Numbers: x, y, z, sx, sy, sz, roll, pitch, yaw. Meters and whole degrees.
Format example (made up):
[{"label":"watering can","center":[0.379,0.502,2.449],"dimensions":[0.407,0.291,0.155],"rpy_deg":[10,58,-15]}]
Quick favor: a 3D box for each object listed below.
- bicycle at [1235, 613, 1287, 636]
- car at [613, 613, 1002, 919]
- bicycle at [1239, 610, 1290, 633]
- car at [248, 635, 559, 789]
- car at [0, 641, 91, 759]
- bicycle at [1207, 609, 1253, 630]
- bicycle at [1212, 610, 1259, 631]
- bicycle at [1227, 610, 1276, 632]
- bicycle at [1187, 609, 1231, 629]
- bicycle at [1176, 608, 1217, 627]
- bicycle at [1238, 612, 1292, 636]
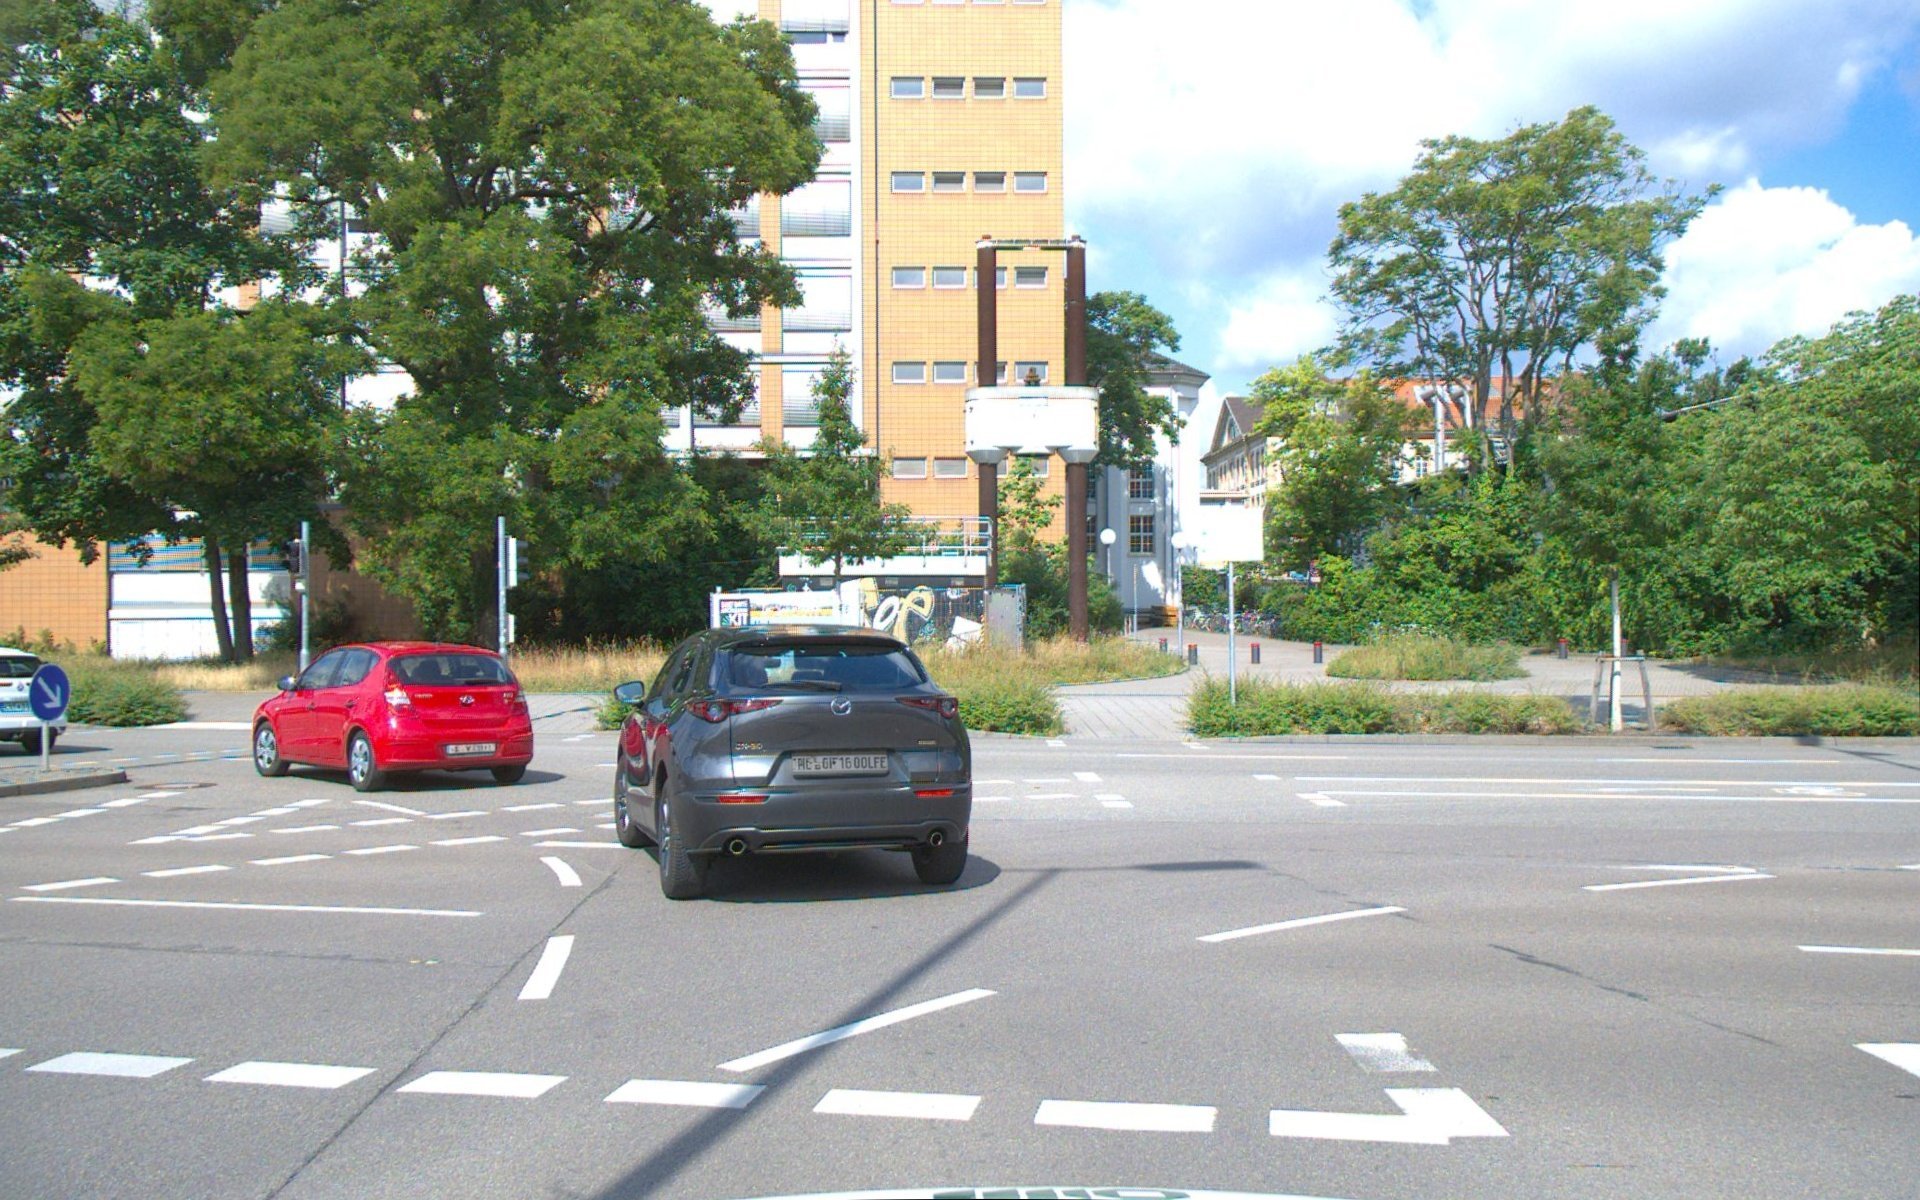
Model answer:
[{"label":"bicycle","center":[12.562,1.021,69.023],"dimensions":[2.013,0.953,0.804],"rpy_deg":[-1,-1,-1]},{"label":"car","center":[-1.195,0.909,10.706],"dimensions":[1.776,1.534,4.186],"rpy_deg":[-1,-2,-16]},{"label":"bicycle","center":[13.188,0.941,71.668],"dimensions":[2.013,0.953,0.804],"rpy_deg":[-1,-1,-1]},{"label":"car","center":[-6.115,1.119,17.925],"dimensions":[1.806,1.465,4.006],"rpy_deg":[2,-2,-41]},{"label":"car","center":[-14.260,1.354,22.913],"dimensions":[4.237,1.498,1.852],"rpy_deg":[-1,0,27]},{"label":"bicycle","center":[12.653,0.928,77.478],"dimensions":[2.013,0.953,0.804],"rpy_deg":[-1,-1,-1]},{"label":"bicycle","center":[12.738,0.932,76.474],"dimensions":[2.013,0.953,0.804],"rpy_deg":[-1,-1,-1]},{"label":"bicycle","center":[12.851,0.933,73.001],"dimensions":[2.013,0.953,0.804],"rpy_deg":[-1,-1,-1]},{"label":"bicycle","center":[12.241,0.920,81.213],"dimensions":[2.013,0.953,0.804],"rpy_deg":[-1,-1,-1]},{"label":"bicycle","center":[12.312,0.923,86.073],"dimensions":[2.013,0.953,0.804],"rpy_deg":[-1,-1,-1]},{"label":"bicycle","center":[12.425,0.984,67.447],"dimensions":[2.013,0.953,0.804],"rpy_deg":[-1,-1,-1]}]
